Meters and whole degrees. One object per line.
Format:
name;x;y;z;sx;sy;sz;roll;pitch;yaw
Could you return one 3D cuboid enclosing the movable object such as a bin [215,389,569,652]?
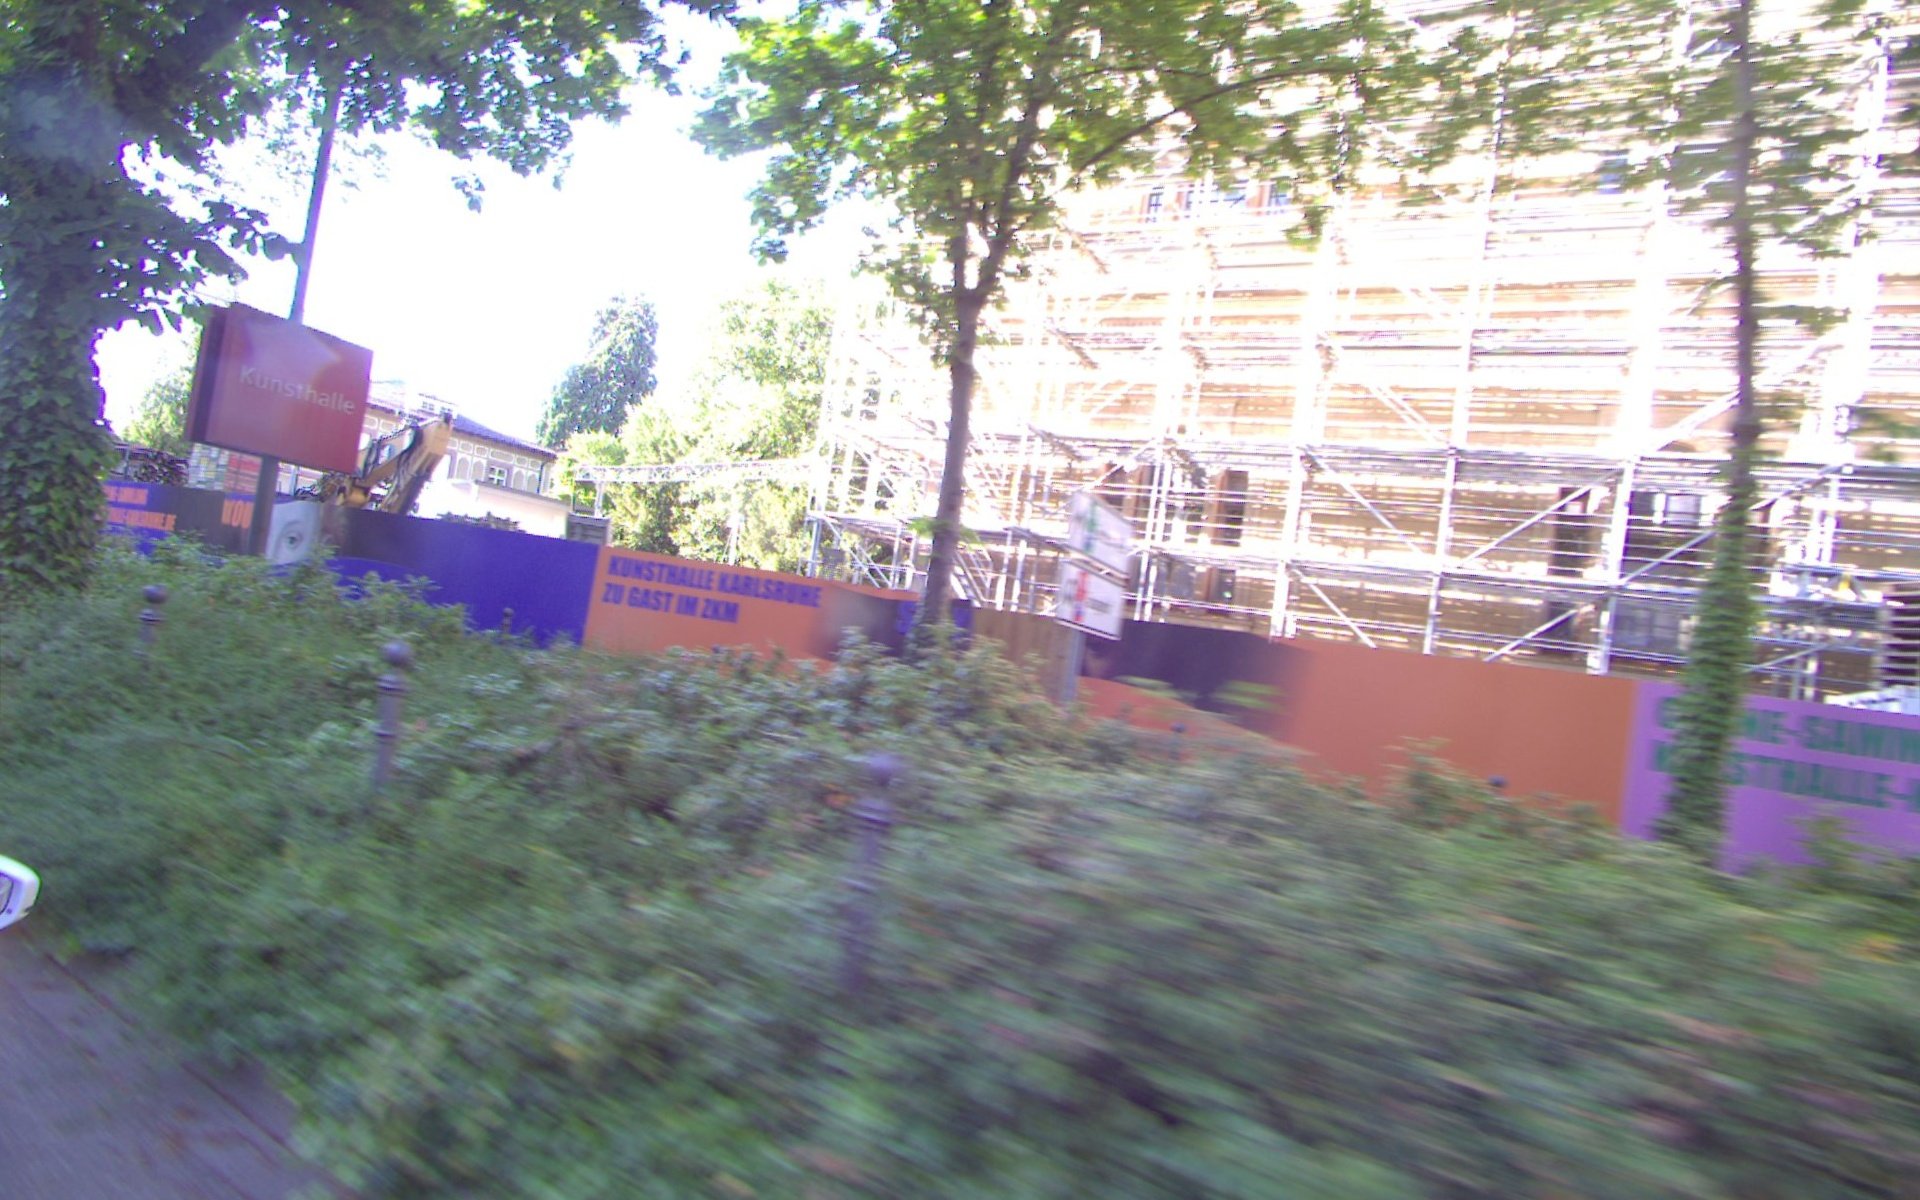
movable object such as a bin;-12.565;-1.749;21.961;7.782;4.591;3.311;7;-2;36
